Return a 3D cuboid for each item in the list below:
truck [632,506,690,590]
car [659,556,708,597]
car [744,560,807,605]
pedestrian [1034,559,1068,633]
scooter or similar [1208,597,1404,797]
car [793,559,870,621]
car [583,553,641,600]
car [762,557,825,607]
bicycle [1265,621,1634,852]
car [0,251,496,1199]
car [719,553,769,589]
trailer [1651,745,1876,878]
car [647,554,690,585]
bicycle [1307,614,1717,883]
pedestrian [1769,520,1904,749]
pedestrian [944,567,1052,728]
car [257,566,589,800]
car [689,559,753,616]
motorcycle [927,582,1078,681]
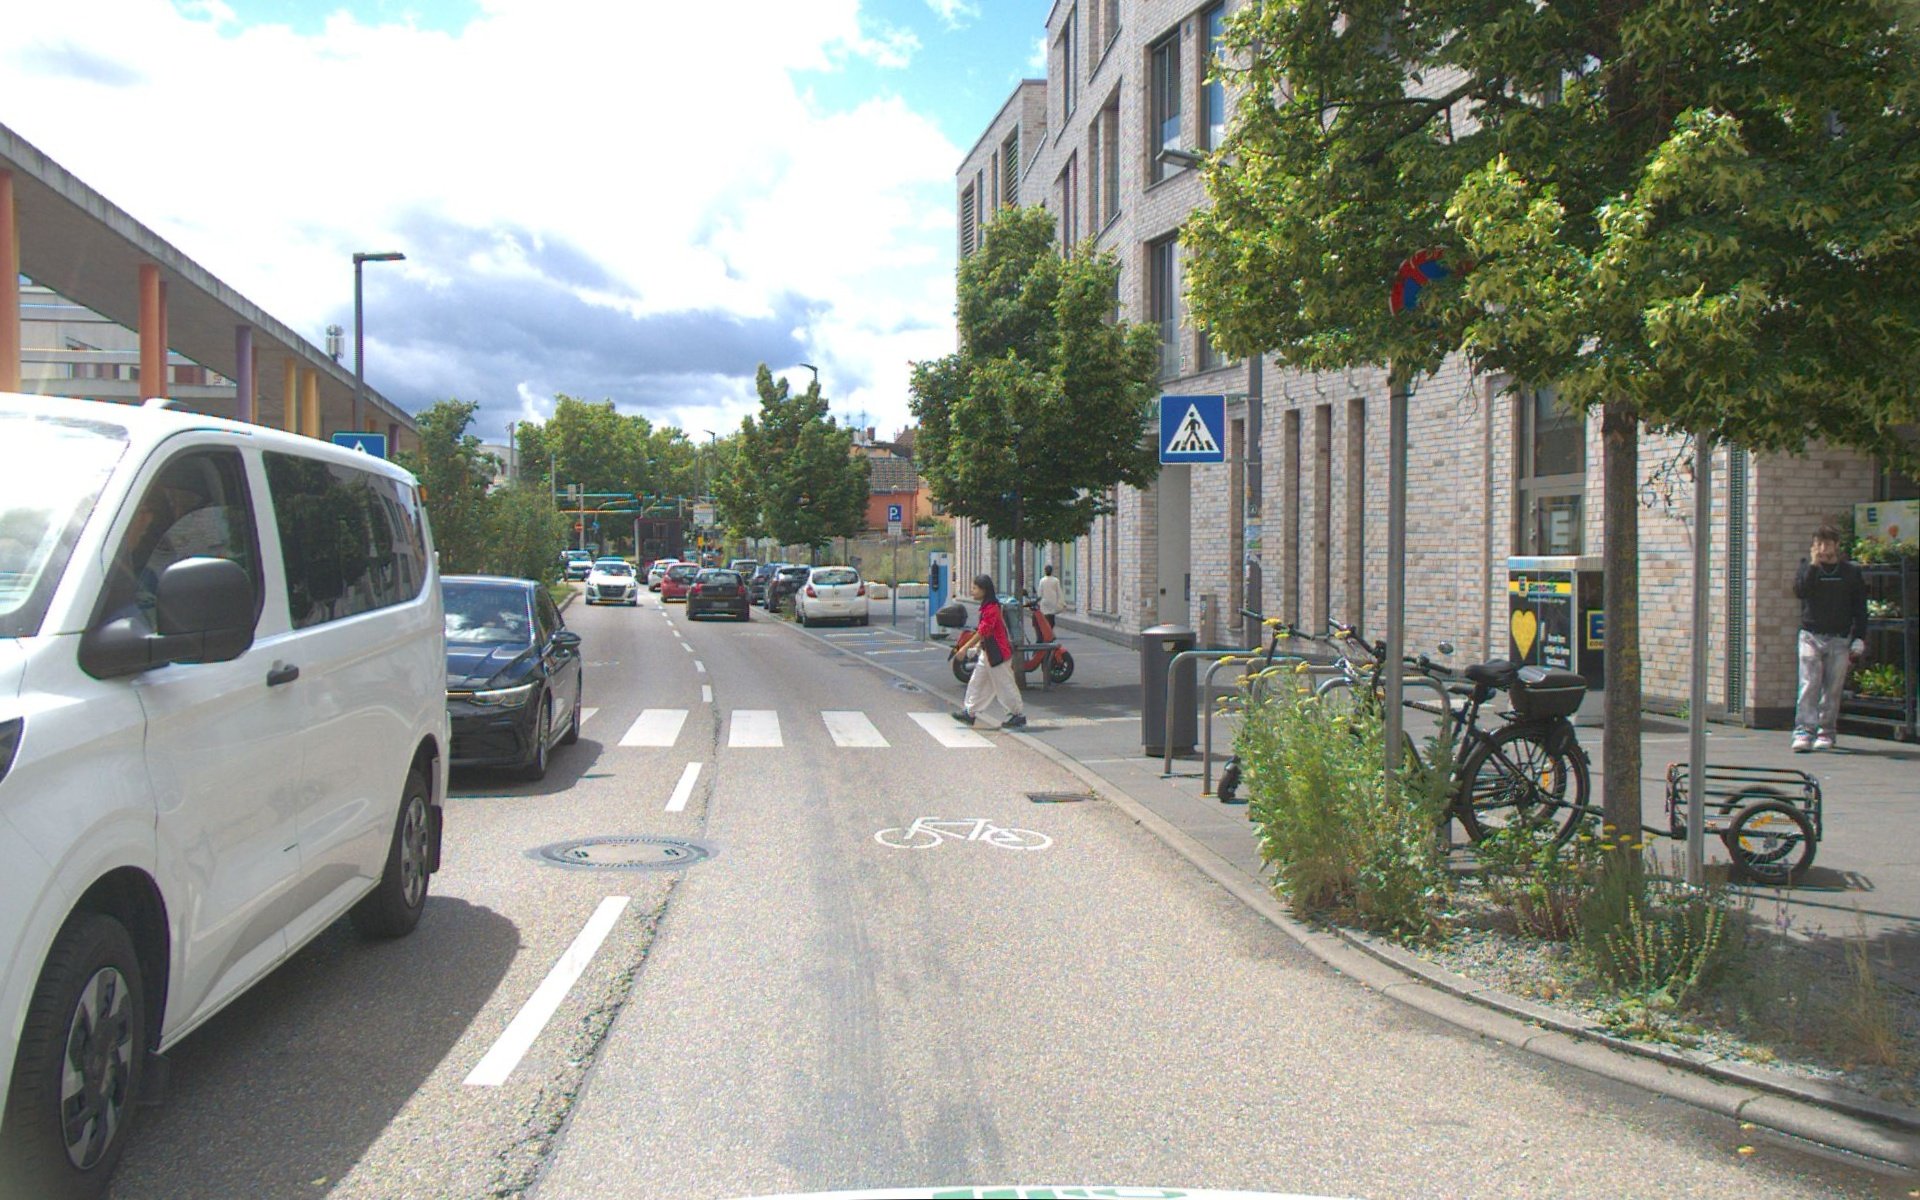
[{"bbox_3d":[-17.550,-2.919,96.905,3.146,4.615,9.005,1,0,-11],"label":"truck"},{"bbox_3d":[-10.395,-0.896,62.010,1.681,1.417,3.799,-1,2,-11],"label":"car"},{"bbox_3d":[-6.629,-0.661,59.002,1.832,1.476,4.631,-2,2,-11],"label":"car"},{"bbox_3d":[1.874,-0.093,34.155,0.595,1.498,0.790,-1,2,-3],"label":"pedestrian"},{"bbox_3d":[2.287,0.627,10.997,1.173,1.271,0.493,-1,0,-5],"label":"scooter or similar"},{"bbox_3d":[-3.414,-0.299,43.353,1.662,1.509,3.790,-1,2,-9],"label":"car"},{"bbox_3d":[-11.818,-0.826,56.304,1.779,1.494,3.898,1,1,-10],"label":"car"},{"bbox_3d":[-5.316,-0.605,52.486,1.662,1.486,4.137,-1,2,-10],"label":"car"},{"bbox_3d":[2.660,0.718,9.095,1.787,1.151,0.755,-1,1,-5],"label":"bicycle"},{"bbox_3d":[-2.988,0.308,5.189,1.955,2.048,5.388,2,1,-6],"label":"car"},{"bbox_3d":[-9.635,-1.325,73.408,1.751,1.477,4.462,-2,2,-13],"label":"car"},{"bbox_3d":[3.923,1.023,8.134,0.705,0.538,0.811,1,1,-1],"label":"trailer"},{"bbox_3d":[-14.281,-1.495,80.978,1.855,1.491,4.056,-1,1,-13],"label":"car"},{"bbox_3d":[2.722,0.705,8.267,1.787,1.222,0.755,-1,1,-5],"label":"bicycle"},{"bbox_3d":[7.047,0.255,13.344,0.643,1.772,1.019,0,1,7],"label":"pedestrian"},{"bbox_3d":[0.382,0.481,16.950,0.911,1.592,0.812,1,-1,-13],"label":"pedestrian"},{"bbox_3d":[-3.942,0.507,12.829,1.739,1.489,4.226,1,1,-9],"label":"car"},{"bbox_3d":[-6.766,-0.387,46.746,1.694,1.482,3.801,-1,2,-9],"label":"car"},{"bbox_3d":[0.604,0.430,22.899,2.007,1.288,0.673,-2,0,6],"label":"motorcycle"}]
